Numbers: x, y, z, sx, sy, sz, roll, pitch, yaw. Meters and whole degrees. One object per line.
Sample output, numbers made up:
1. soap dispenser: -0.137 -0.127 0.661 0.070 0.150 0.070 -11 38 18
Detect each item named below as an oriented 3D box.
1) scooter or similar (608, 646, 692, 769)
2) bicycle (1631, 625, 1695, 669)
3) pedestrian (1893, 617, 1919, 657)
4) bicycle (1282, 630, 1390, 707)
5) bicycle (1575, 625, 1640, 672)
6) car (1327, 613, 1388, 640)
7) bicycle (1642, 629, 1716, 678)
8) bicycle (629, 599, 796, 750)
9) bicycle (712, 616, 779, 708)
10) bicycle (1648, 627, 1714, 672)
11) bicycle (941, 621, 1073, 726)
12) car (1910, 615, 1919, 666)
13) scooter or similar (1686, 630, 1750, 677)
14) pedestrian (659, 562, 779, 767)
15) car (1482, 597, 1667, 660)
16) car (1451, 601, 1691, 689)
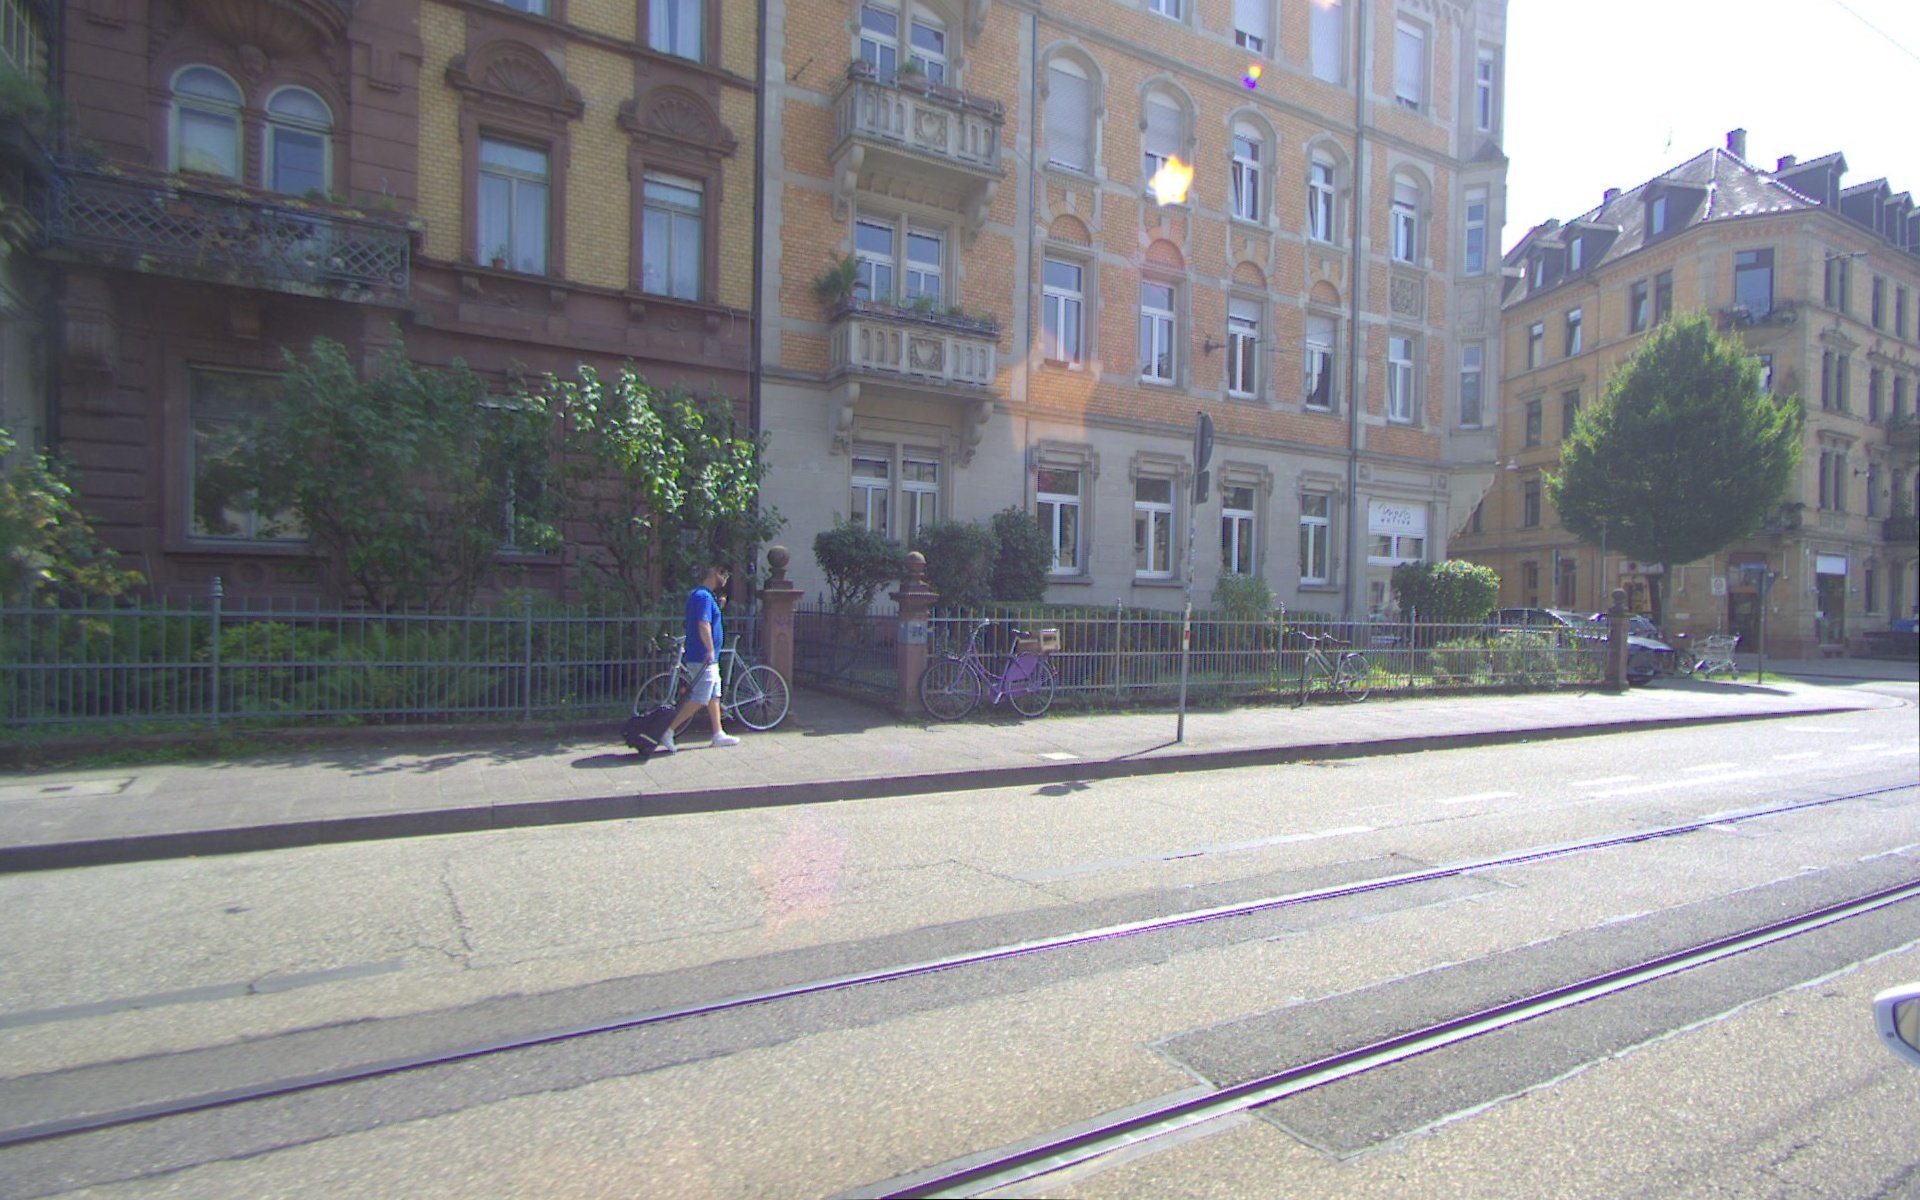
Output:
1. scooter or similar: -2.696 0.913 8.739 0.579 0.995 0.397 1 2 -37
2. bicycle: 18.476 1.243 26.414 1.424 1.114 0.390 1 1 -4
3. pedestrian: 36.837 1.418 38.926 0.878 1.531 0.861 1 0 -38
4. bicycle: 5.520 0.978 14.691 1.811 1.052 0.388 1 1 -29
5. bicycle: 16.488 1.212 25.603 0.384 1.113 1.446 0 1 -18
6. car: 22.046 1.448 55.883 1.597 1.382 3.593 2 0 -7
7. bicycle: 17.527 1.285 24.516 1.429 1.114 0.389 2 1 39
8. bicycle: -2.459 0.714 10.040 1.562 1.425 0.388 1 1 -29
9. bicycle: -2.711 0.746 12.591 0.387 1.046 1.392 0 1 -31
10. bicycle: 18.444 1.275 25.697 1.424 1.114 0.390 1 1 -4
11. bicycle: 0.567 0.830 11.752 1.562 1.163 0.388 1 1 -29
12. car: 32.821 1.329 32.570 4.313 1.615 1.982 1 0 -33
13. scooter or similar: 18.808 1.307 24.929 1.368 1.114 0.595 1 1 -19
14. pedestrian: -2.241 0.559 9.287 0.859 1.779 0.879 1 0 -29
15. car: 17.633 0.811 28.926 4.280 1.711 1.997 1 0 -9
16. car: 13.171 0.906 21.930 1.855 1.616 4.085 1 1 -27
